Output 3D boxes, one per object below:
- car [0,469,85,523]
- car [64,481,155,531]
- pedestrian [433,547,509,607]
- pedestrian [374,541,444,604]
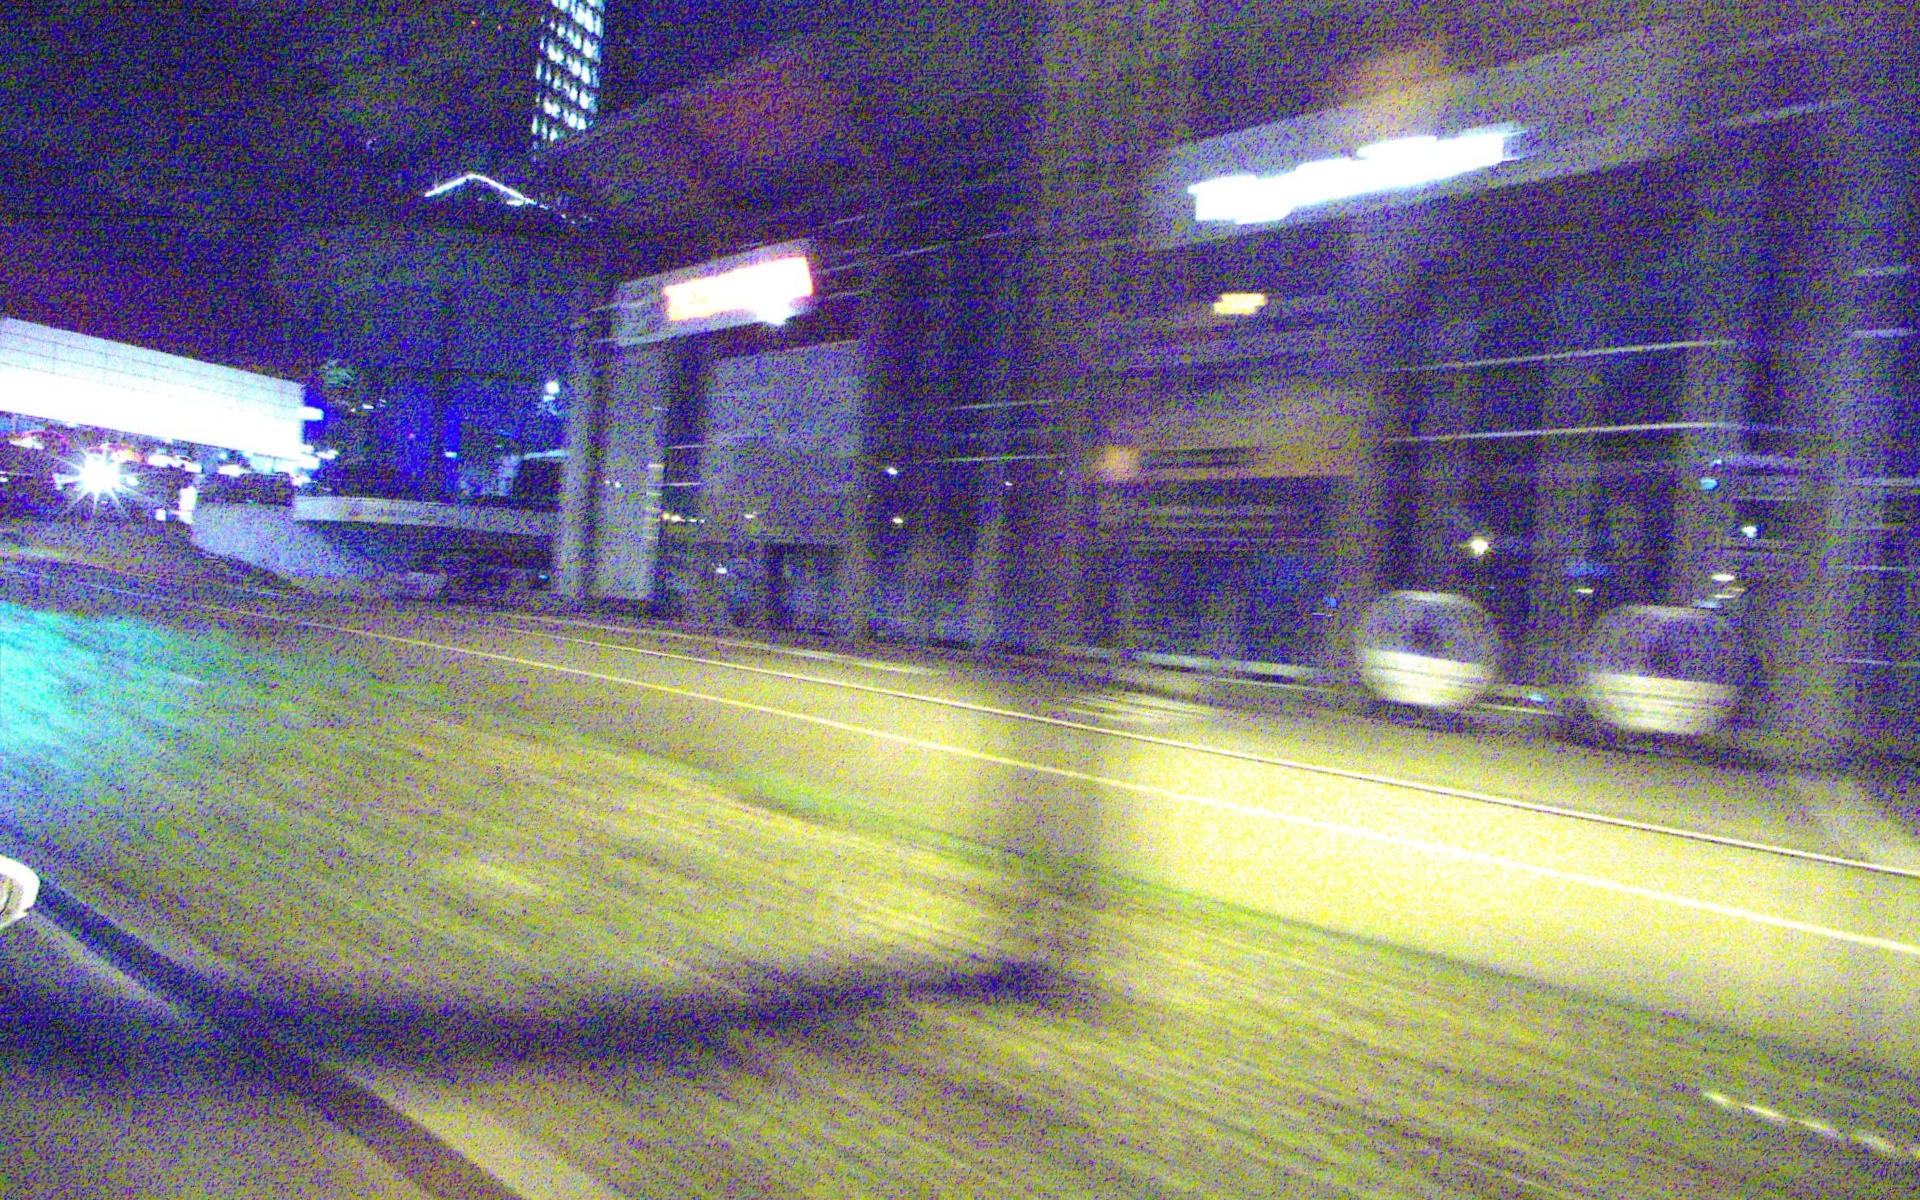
[{"bbox_3d":[-32.854,-3.652,35.769,3.583,1.529,1.892,4,-3,39],"label":"car"},{"bbox_3d":[-32.666,-3.598,38.618,3.583,1.529,1.892,4,-3,39],"label":"car"},{"bbox_3d":[-9.504,-0.432,19.575,0.757,1.019,1.002,5,-2,16],"label":"pedestrian"},{"bbox_3d":[-10.164,-0.497,18.594,0.899,1.051,0.769,5,0,-15],"label":"pedestrian"}]
